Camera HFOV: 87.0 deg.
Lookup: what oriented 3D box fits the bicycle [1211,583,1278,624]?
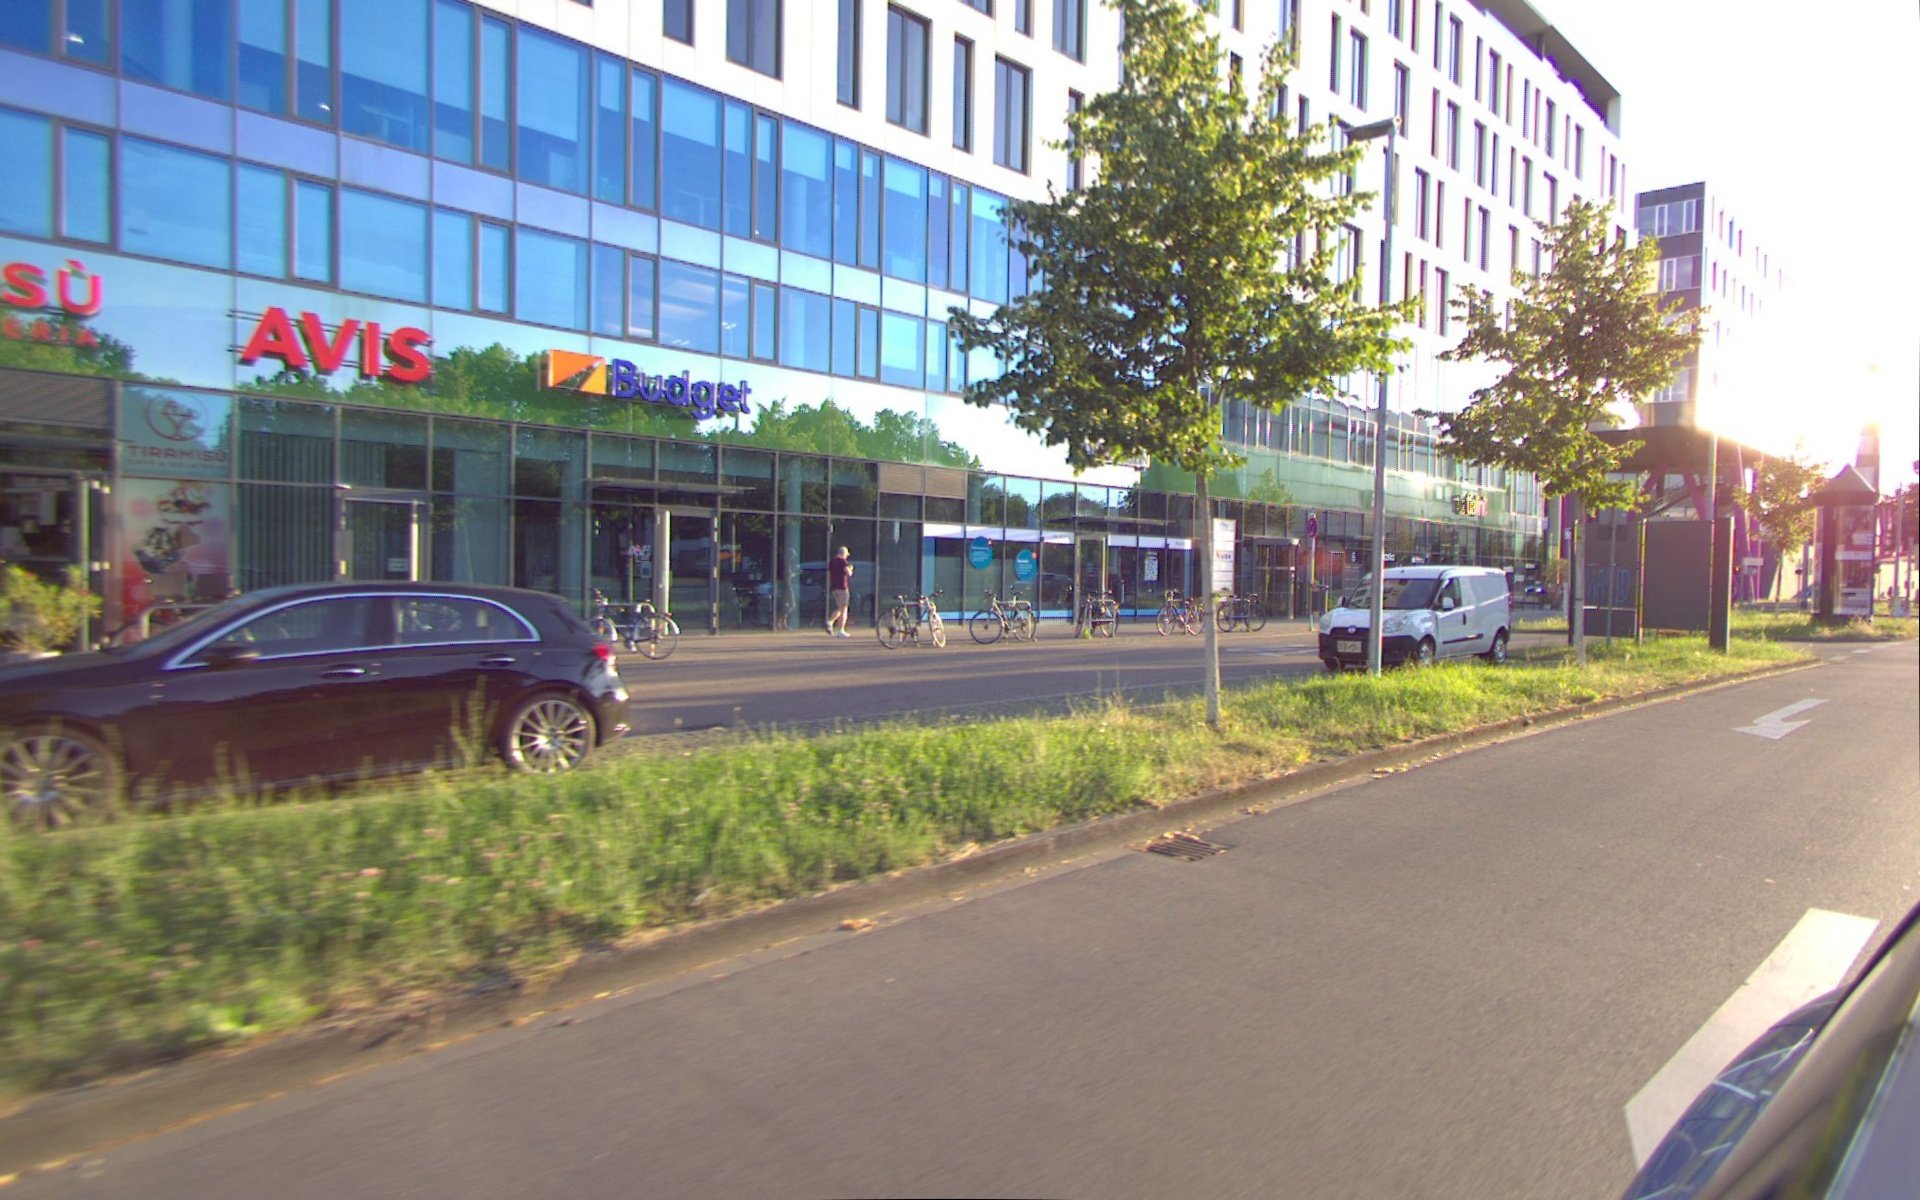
[{"bbox_3d":[7.555,0.099,26.876,1.838,1.053,0.532,1,3,-29],"label":"bicycle"}]

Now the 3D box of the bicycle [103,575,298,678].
[{"bbox_3d":[-9.260,0.290,12.395,1.843,1.147,0.640,0,4,-45],"label":"bicycle"}]

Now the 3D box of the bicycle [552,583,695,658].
[{"bbox_3d":[-5.142,0.287,15.562,0.597,1.053,2.041,5,4,42],"label":"bicycle"}]

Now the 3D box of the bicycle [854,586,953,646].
[{"bbox_3d":[-1.049,0.279,19.224,0.529,1.053,2.041,5,4,43],"label":"bicycle"}]

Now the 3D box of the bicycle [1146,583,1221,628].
[{"bbox_3d":[5.512,0.138,24.919,1.879,1.053,0.532,1,3,-29],"label":"bicycle"}]

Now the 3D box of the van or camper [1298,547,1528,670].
[{"bbox_3d":[8.294,0.115,18.330,4.745,1.944,1.962,-1,0,-40],"label":"van or camper"}]

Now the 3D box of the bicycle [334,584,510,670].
[{"bbox_3d":[-7.437,0.337,14.061,2.039,1.076,0.684,0,4,-44],"label":"bicycle"}]

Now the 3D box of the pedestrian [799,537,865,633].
[{"bbox_3d":[-2.646,-0.320,20.859,0.931,1.906,1.028,0,2,-41],"label":"pedestrian"}]

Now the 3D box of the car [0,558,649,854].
[{"bbox_3d":[-4.549,0.507,6.738,4.402,1.519,1.812,-1,2,-41],"label":"car"}]

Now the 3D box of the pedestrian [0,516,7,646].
[{"bbox_3d":[-13.438,-0.253,13.628,0.670,1.781,0.664,1,3,-23],"label":"pedestrian"}]

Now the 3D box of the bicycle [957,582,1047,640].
[{"bbox_3d":[0.887,0.210,20.946,2.110,1.122,0.388,-1,5,-41],"label":"bicycle"}]
